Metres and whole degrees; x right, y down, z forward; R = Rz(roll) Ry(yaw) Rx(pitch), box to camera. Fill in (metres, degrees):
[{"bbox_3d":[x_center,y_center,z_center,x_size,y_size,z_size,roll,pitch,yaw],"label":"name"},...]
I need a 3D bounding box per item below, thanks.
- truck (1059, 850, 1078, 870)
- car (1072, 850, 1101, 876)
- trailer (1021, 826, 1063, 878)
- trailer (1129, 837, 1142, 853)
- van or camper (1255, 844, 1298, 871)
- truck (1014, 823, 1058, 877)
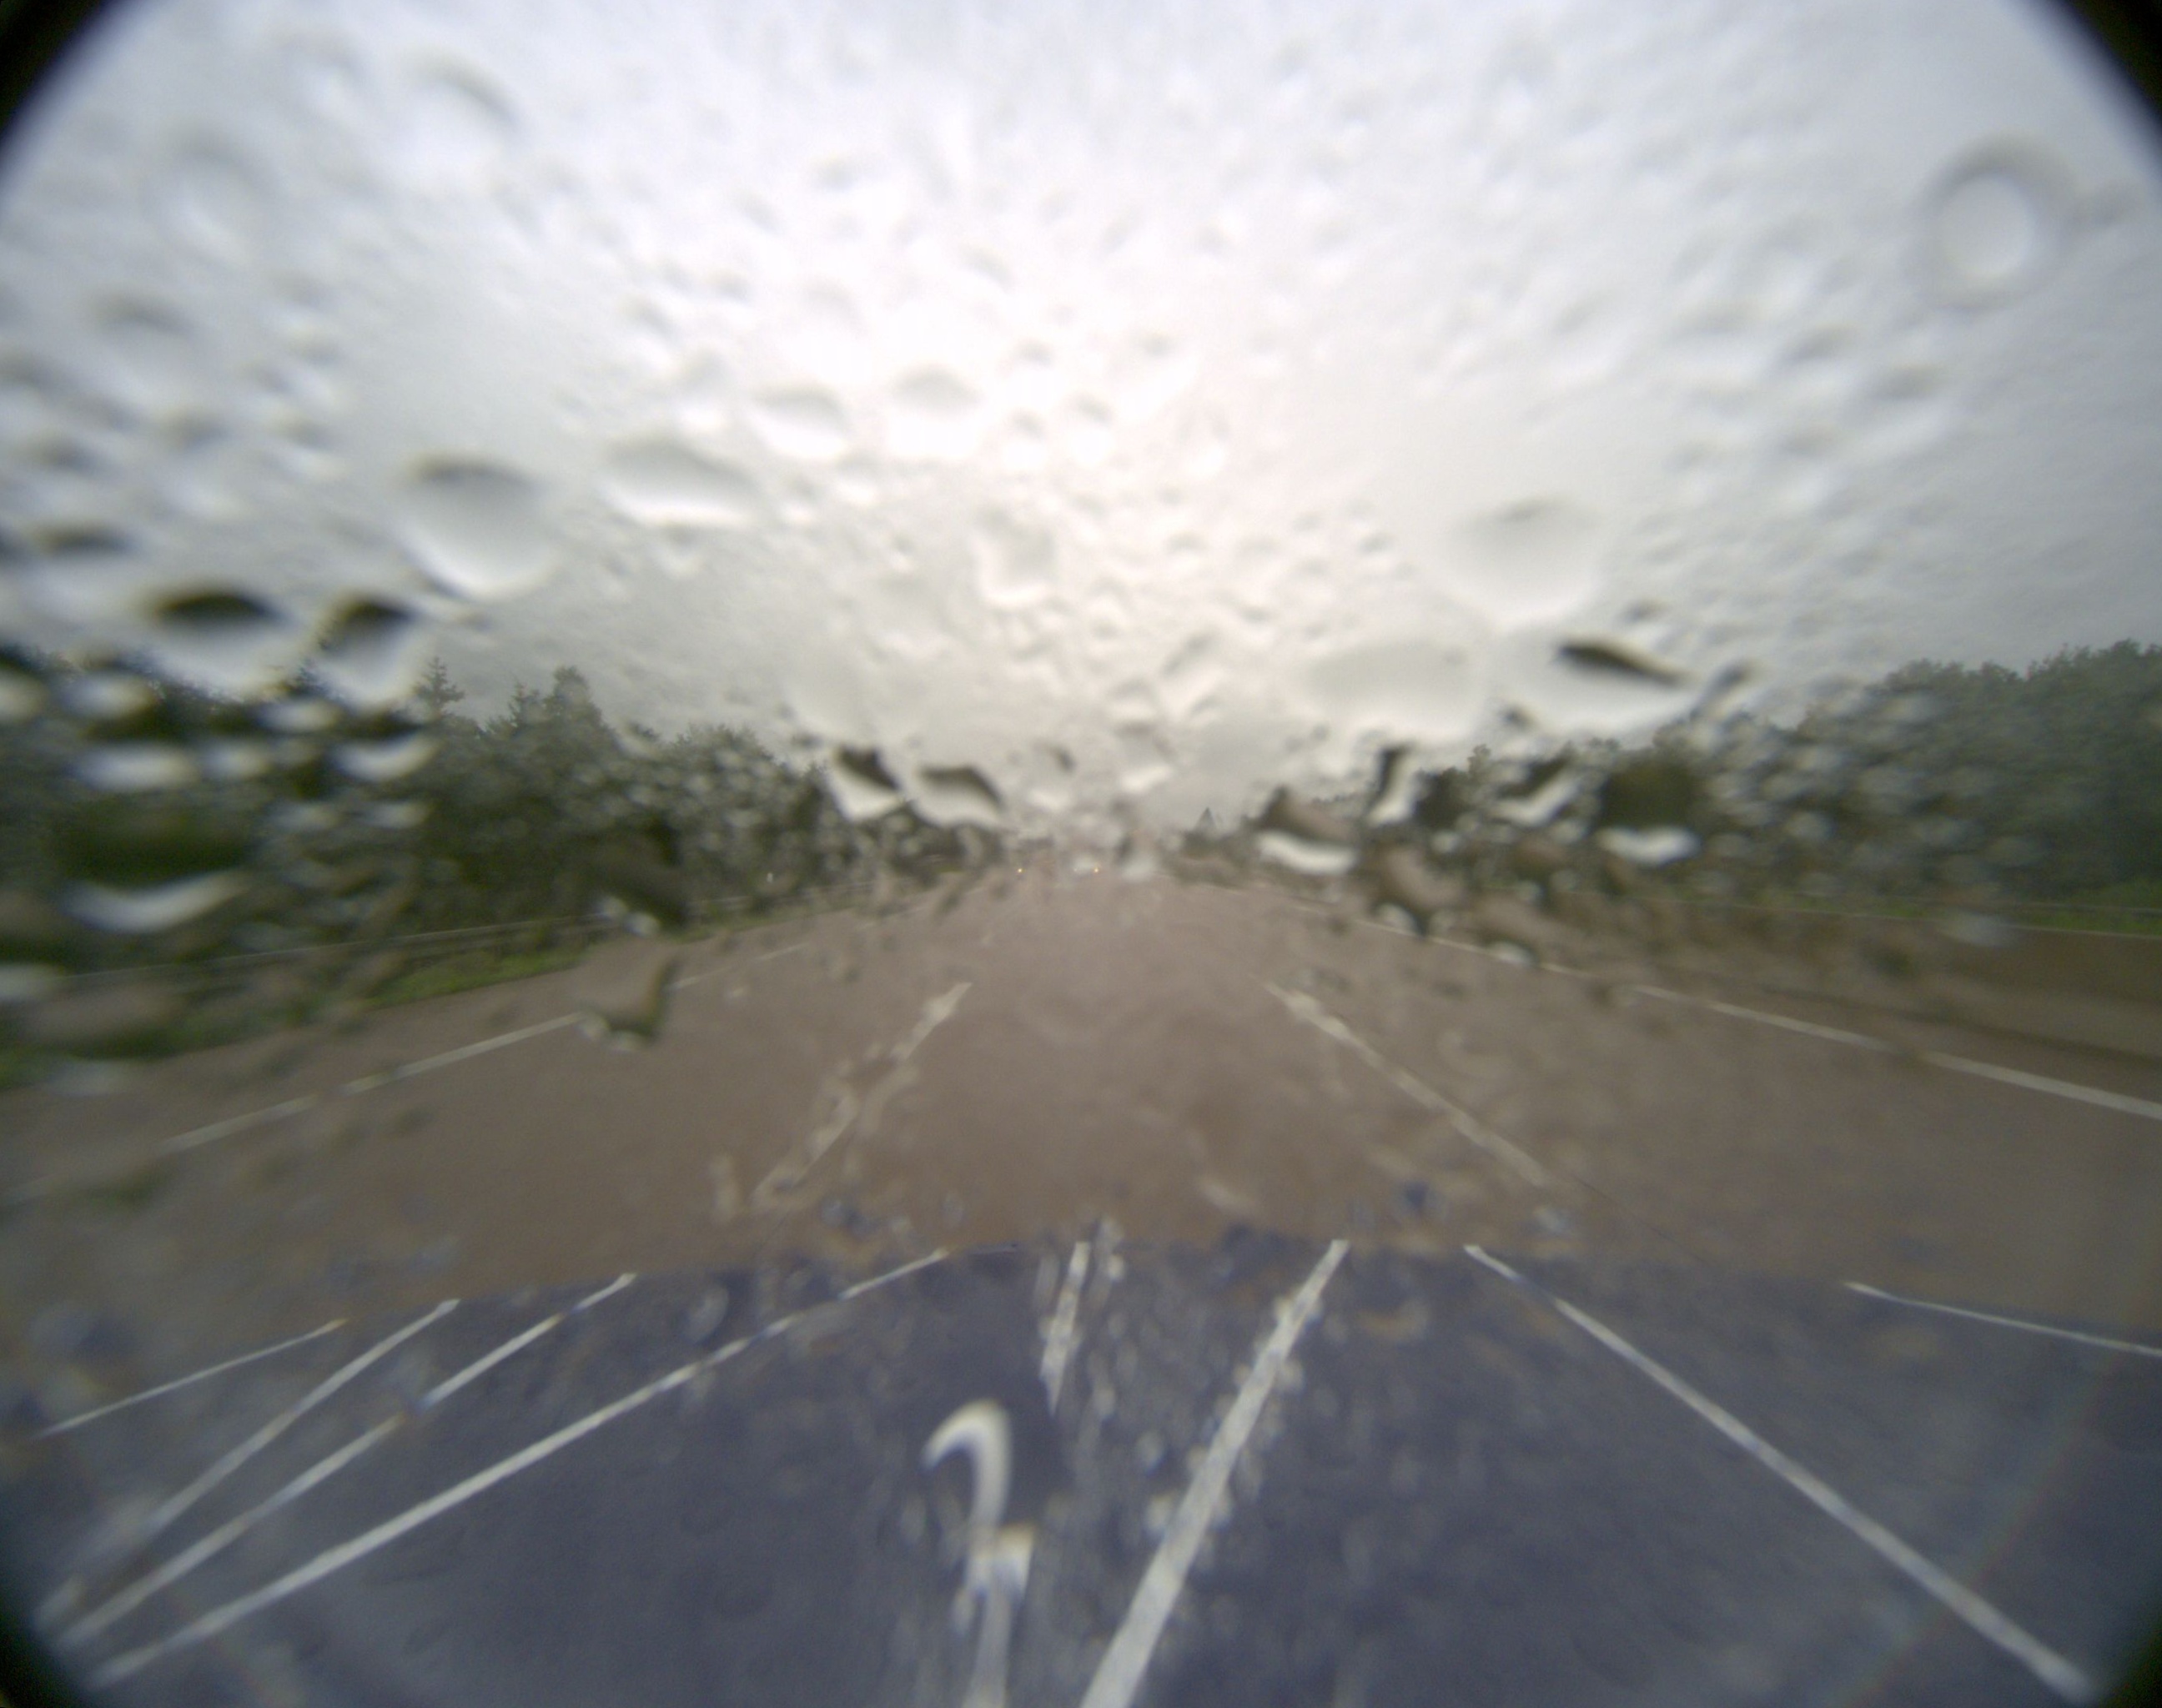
[{"bbox_3d":[-2.412,1.135,148.478,3.242,3.707,7.956,-2,-1,1],"label":"truck"},{"bbox_3d":[0.441,0.619,54.803,1.812,1.718,4.744,-2,0,3],"label":"car"},{"bbox_3d":[-3.290,-0.047,67.624,2.859,4.206,13.135,0,-1,1],"label":"trailer"},{"bbox_3d":[18.358,-3.033,258.291,4.000,5.030,14.237,-2,1,3],"label":"trailer"},{"bbox_3d":[17.029,0.271,66.366,2.135,2.192,5.721,-2,0,-1],"label":"van or camper"},{"bbox_3d":[-3.482,-0.214,60.146,2.887,4.082,6.351,0,-1,2],"label":"truck"}]
